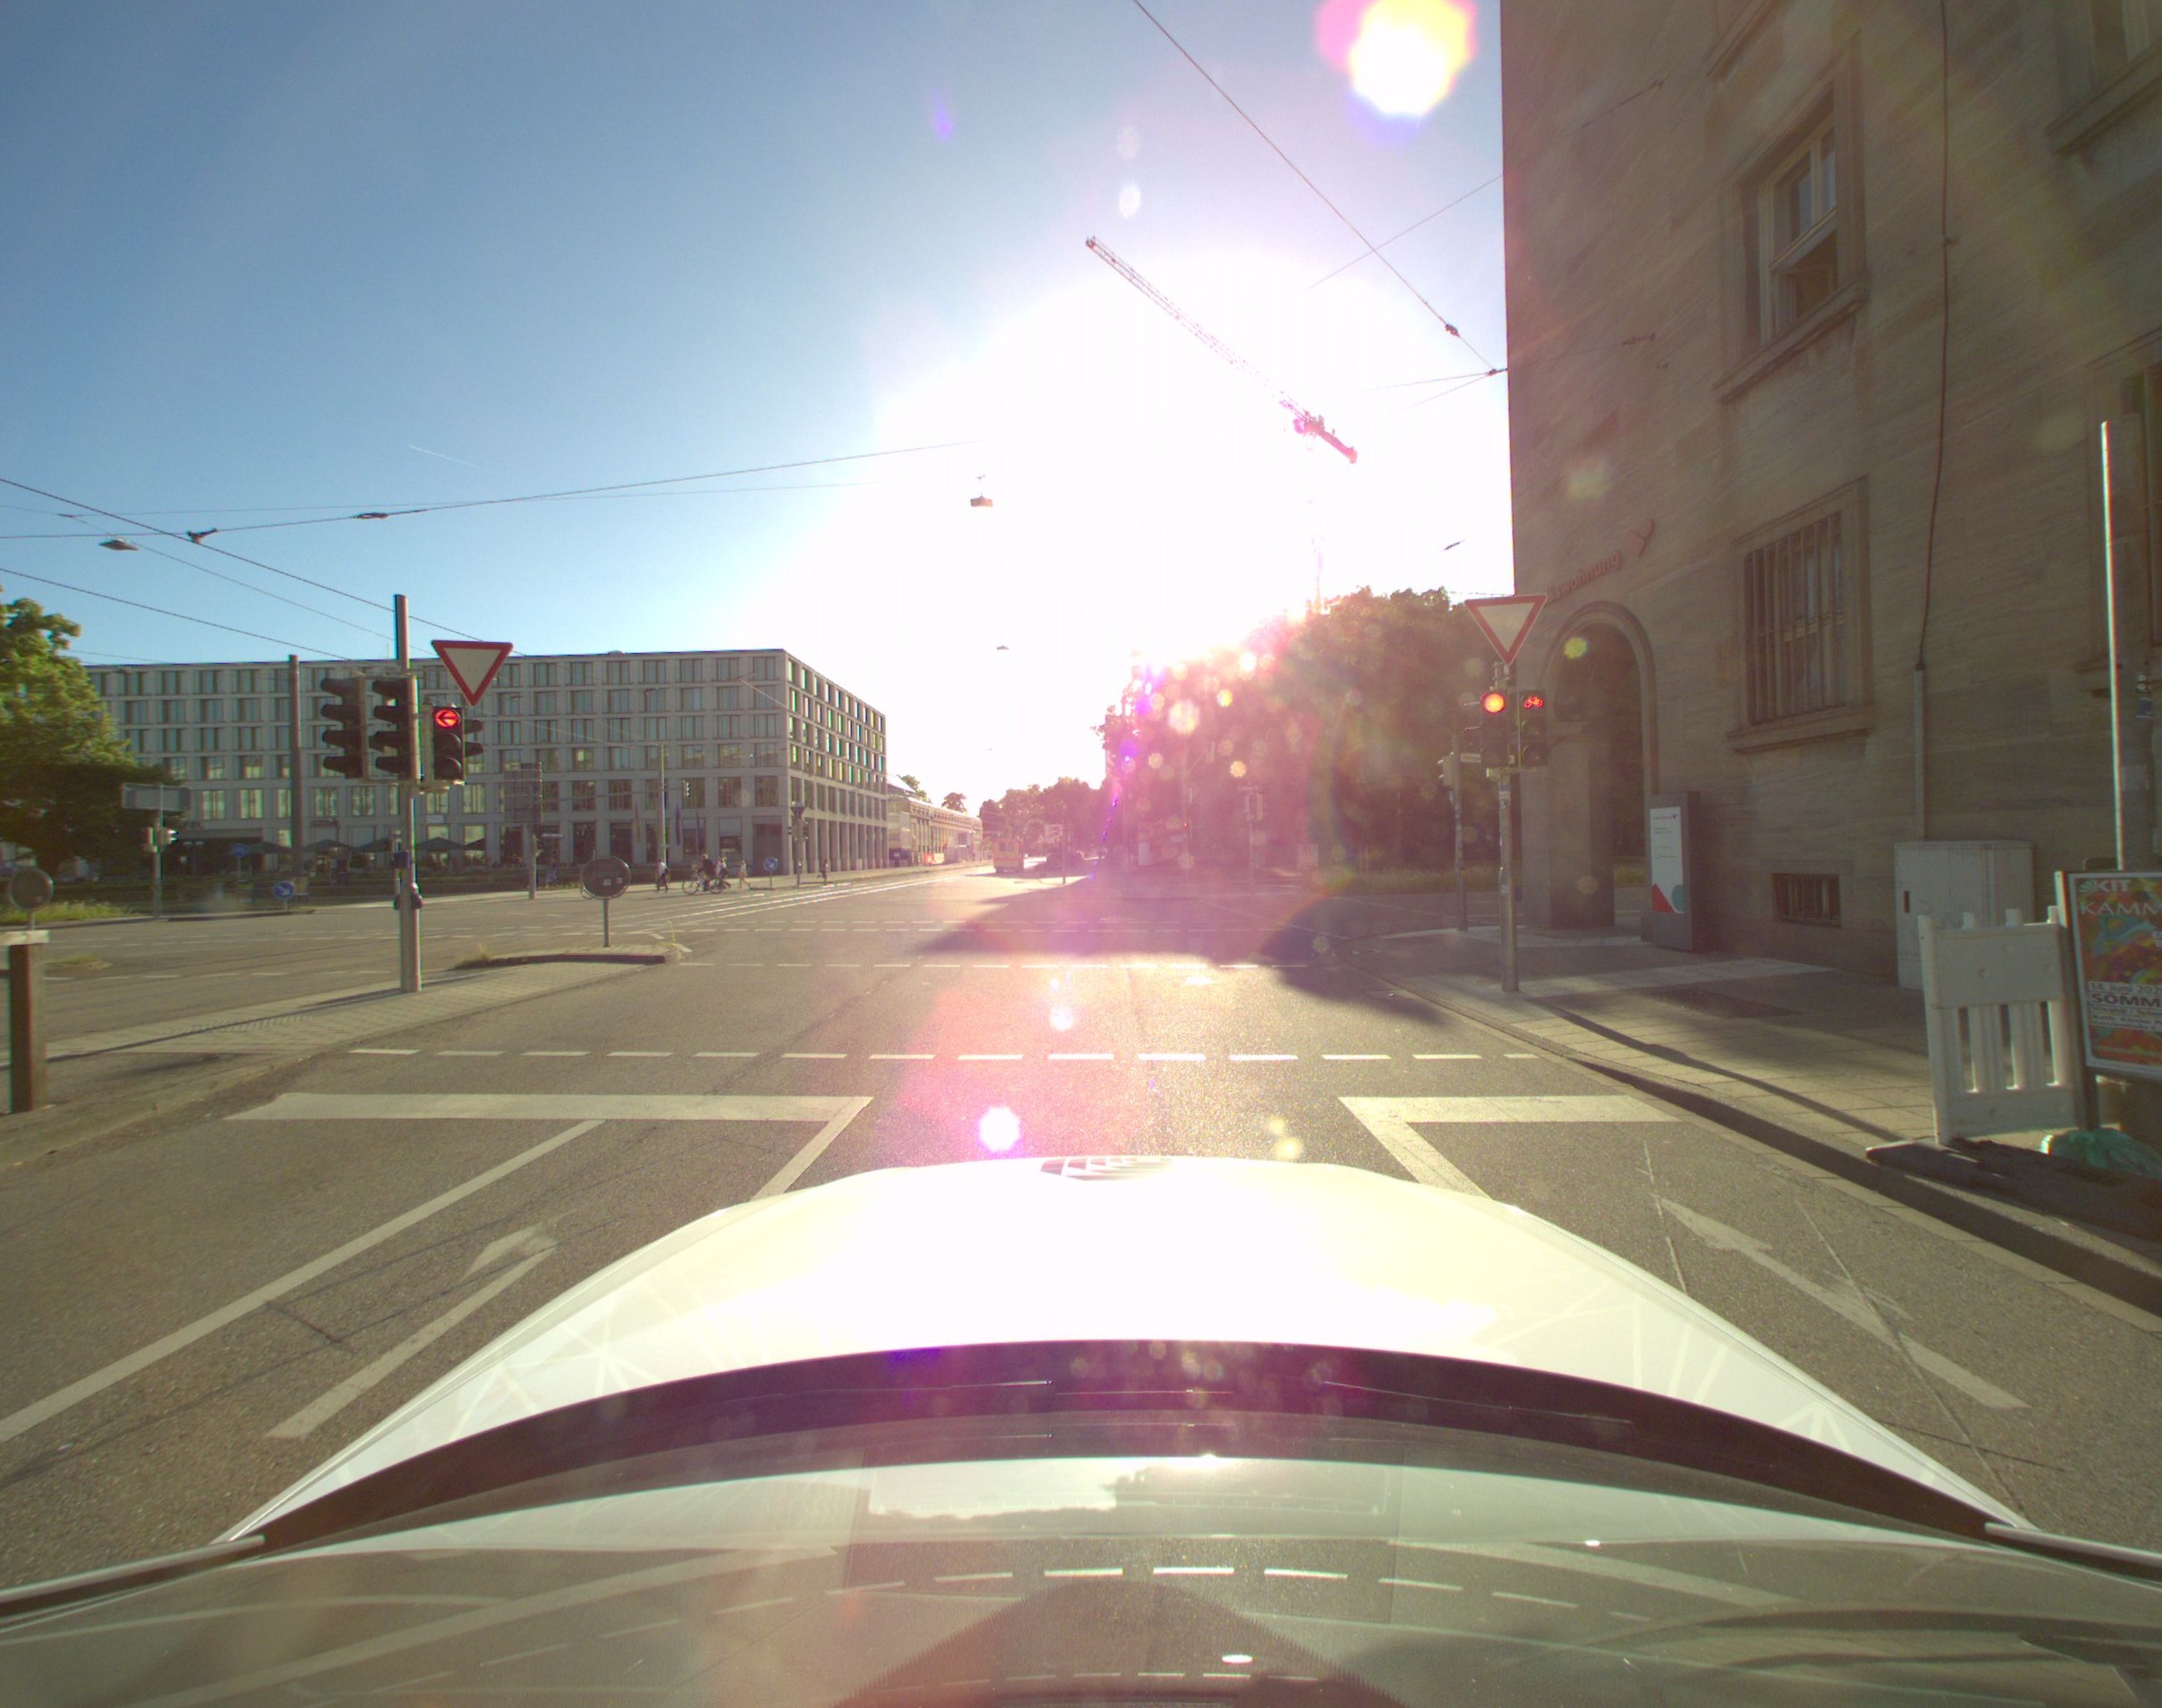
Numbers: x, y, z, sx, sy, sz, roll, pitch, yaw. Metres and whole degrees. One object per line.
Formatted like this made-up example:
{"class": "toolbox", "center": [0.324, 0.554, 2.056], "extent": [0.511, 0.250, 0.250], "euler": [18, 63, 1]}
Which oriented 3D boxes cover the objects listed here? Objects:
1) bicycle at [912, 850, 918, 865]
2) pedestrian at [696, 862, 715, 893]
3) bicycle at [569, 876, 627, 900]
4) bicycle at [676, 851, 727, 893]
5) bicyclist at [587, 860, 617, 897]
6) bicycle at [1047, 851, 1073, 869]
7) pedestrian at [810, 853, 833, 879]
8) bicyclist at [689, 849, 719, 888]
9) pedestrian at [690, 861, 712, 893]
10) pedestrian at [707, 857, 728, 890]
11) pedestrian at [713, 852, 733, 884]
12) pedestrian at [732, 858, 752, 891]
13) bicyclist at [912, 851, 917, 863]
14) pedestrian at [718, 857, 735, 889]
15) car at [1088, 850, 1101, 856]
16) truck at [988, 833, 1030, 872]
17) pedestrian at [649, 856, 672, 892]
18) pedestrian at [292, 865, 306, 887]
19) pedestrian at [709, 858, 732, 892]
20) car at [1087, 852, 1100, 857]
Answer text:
{"class": "bicycle", "center": [-26.754, 0.594, 131.055], "extent": [0.569, 2.296, 1.422], "euler": [-2, 0, 0]}
{"class": "pedestrian", "center": [-20.665, 1.300, 44.775], "extent": [0.691, 1.644, 0.622], "euler": [-2, 0, 2]}
{"class": "bicycle", "center": [-21.117, 1.490, 35.630], "extent": [2.067, 0.933, 0.572], "euler": [-2, 0, -14]}
{"class": "bicycle", "center": [-16.510, 0.780, 35.509], "extent": [1.901, 1.735, 0.593], "euler": [-2, 0, -17]}
{"class": "bicyclist", "center": [-20.971, 1.073, 35.672], "extent": [0.976, 1.560, 0.572], "euler": [-2, 0, -14]}
{"class": "bicycle", "center": [-2.098, 0.608, 81.605], "extent": [2.538, 1.744, 1.038], "euler": [0, -1, 1]}
{"class": "pedestrian", "center": [-13.683, 0.637, 42.967], "extent": [0.993, 1.317, 0.765], "euler": [-2, 0, -7]}
{"class": "bicyclist", "center": [-16.438, 0.635, 35.528], "extent": [1.077, 1.641, 0.594], "euler": [-2, 0, -17]}
{"class": "pedestrian", "center": [-19.738, 1.194, 42.312], "extent": [0.790, 1.644, 0.621], "euler": [-2, 0, -3]}
{"class": "pedestrian", "center": [-20.297, 1.099, 45.476], "extent": [0.735, 1.803, 0.717], "euler": [-2, 0, 7]}
{"class": "pedestrian", "center": [-20.296, 0.811, 46.221], "extent": [0.744, 1.761, 0.679], "euler": [-2, -1, 6]}
{"class": "pedestrian", "center": [-18.931, 1.124, 45.466], "extent": [0.865, 1.803, 0.533], "euler": [-2, 0, 7]}
{"class": "bicyclist", "center": [-26.760, 0.479, 131.006], "extent": [0.569, 2.024, 0.762], "euler": [-2, 0, 0]}
{"class": "pedestrian", "center": [-20.385, 1.096, 46.847], "extent": [0.735, 1.804, 0.533], "euler": [-2, -1, 7]}
{"class": "car", "center": [3.601, -0.164, 213.643], "extent": [3.207, 1.588, 1.445], "euler": [0, -1, -3]}
{"class": "truck", "center": [-5.912, -0.137, 67.712], "extent": [2.706, 3.016, 6.491], "euler": [-1, 0, 1]}
{"class": "pedestrian", "center": [-22.528, 1.072, 43.619], "extent": [0.797, 1.918, 0.638], "euler": [-2, 0, 7]}
{"class": "pedestrian", "center": [-59.462, 1.664, 61.930], "extent": [0.538, 1.669, 0.561], "euler": [0, -1, -2]}
{"class": "pedestrian", "center": [-19.545, 1.110, 44.185], "extent": [0.865, 1.803, 0.665], "euler": [-2, 0, 7]}
{"class": "car", "center": [3.225, 0.028, 211.339], "extent": [3.207, 1.263, 1.373], "euler": [0, -1, 0]}
